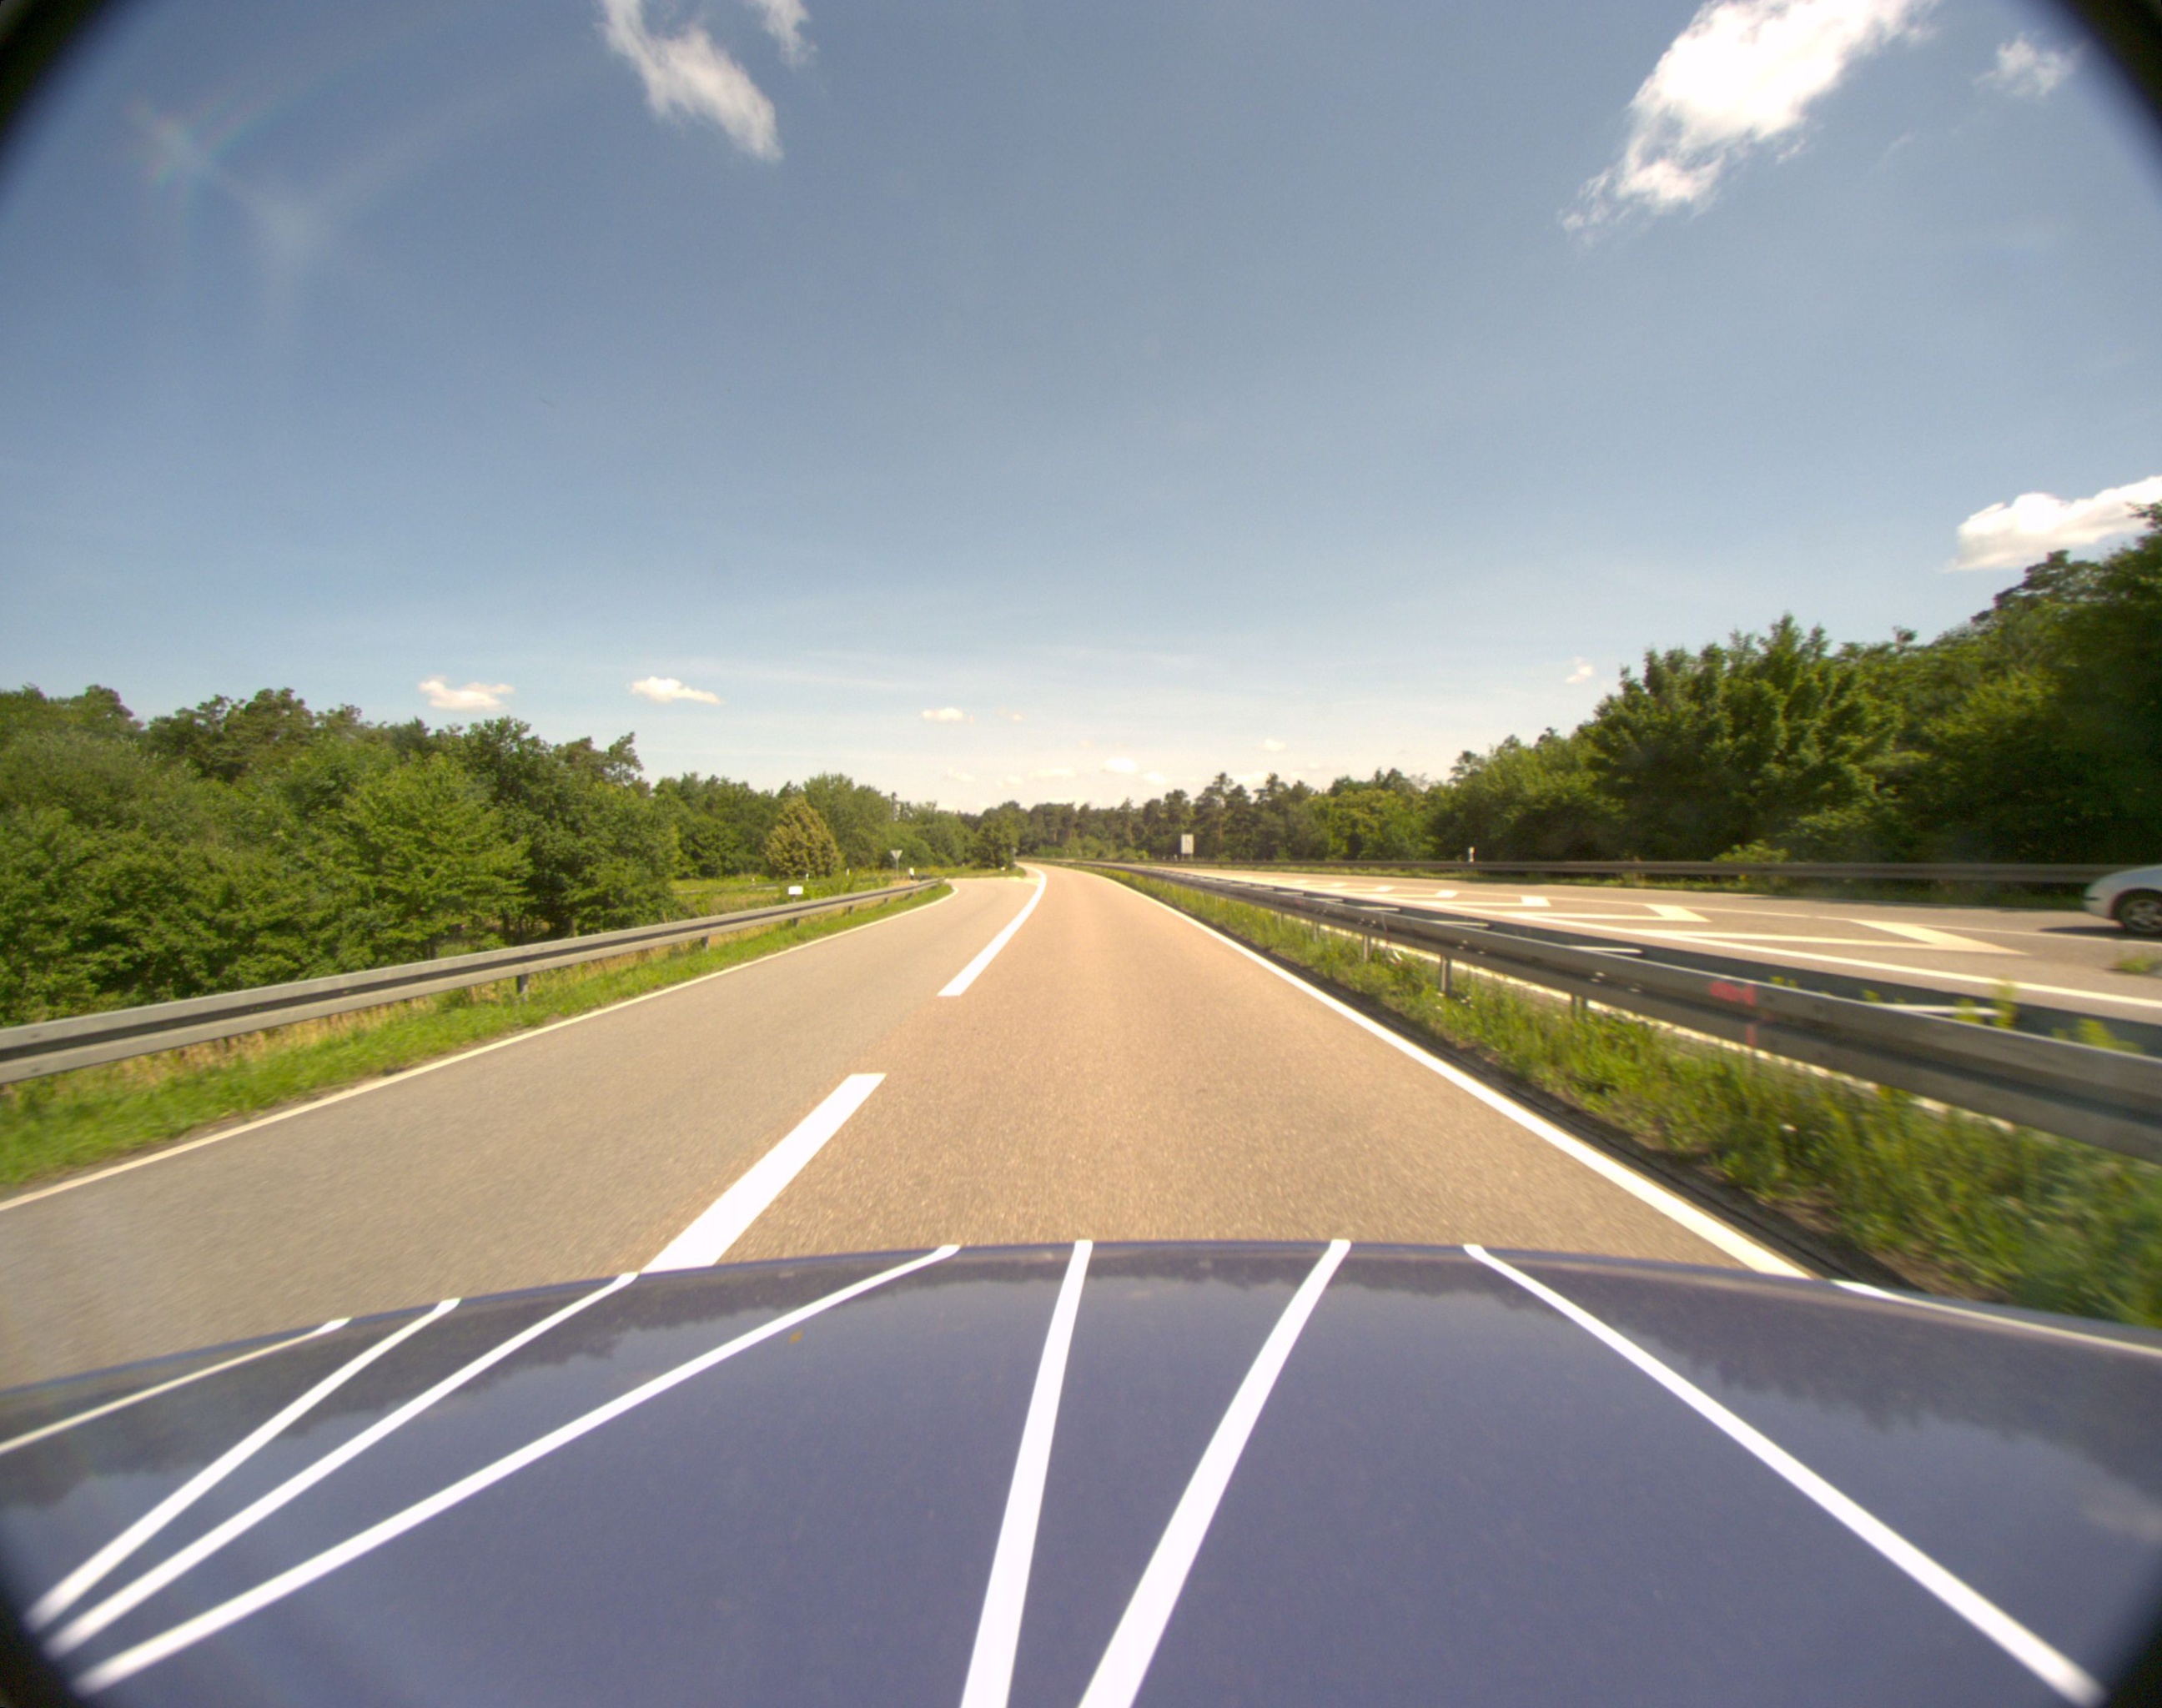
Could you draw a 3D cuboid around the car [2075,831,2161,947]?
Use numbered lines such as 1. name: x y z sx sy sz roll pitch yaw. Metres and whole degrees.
1. car: 14.319 0.407 8.131 1.684 1.419 4.209 -2 0 -5
